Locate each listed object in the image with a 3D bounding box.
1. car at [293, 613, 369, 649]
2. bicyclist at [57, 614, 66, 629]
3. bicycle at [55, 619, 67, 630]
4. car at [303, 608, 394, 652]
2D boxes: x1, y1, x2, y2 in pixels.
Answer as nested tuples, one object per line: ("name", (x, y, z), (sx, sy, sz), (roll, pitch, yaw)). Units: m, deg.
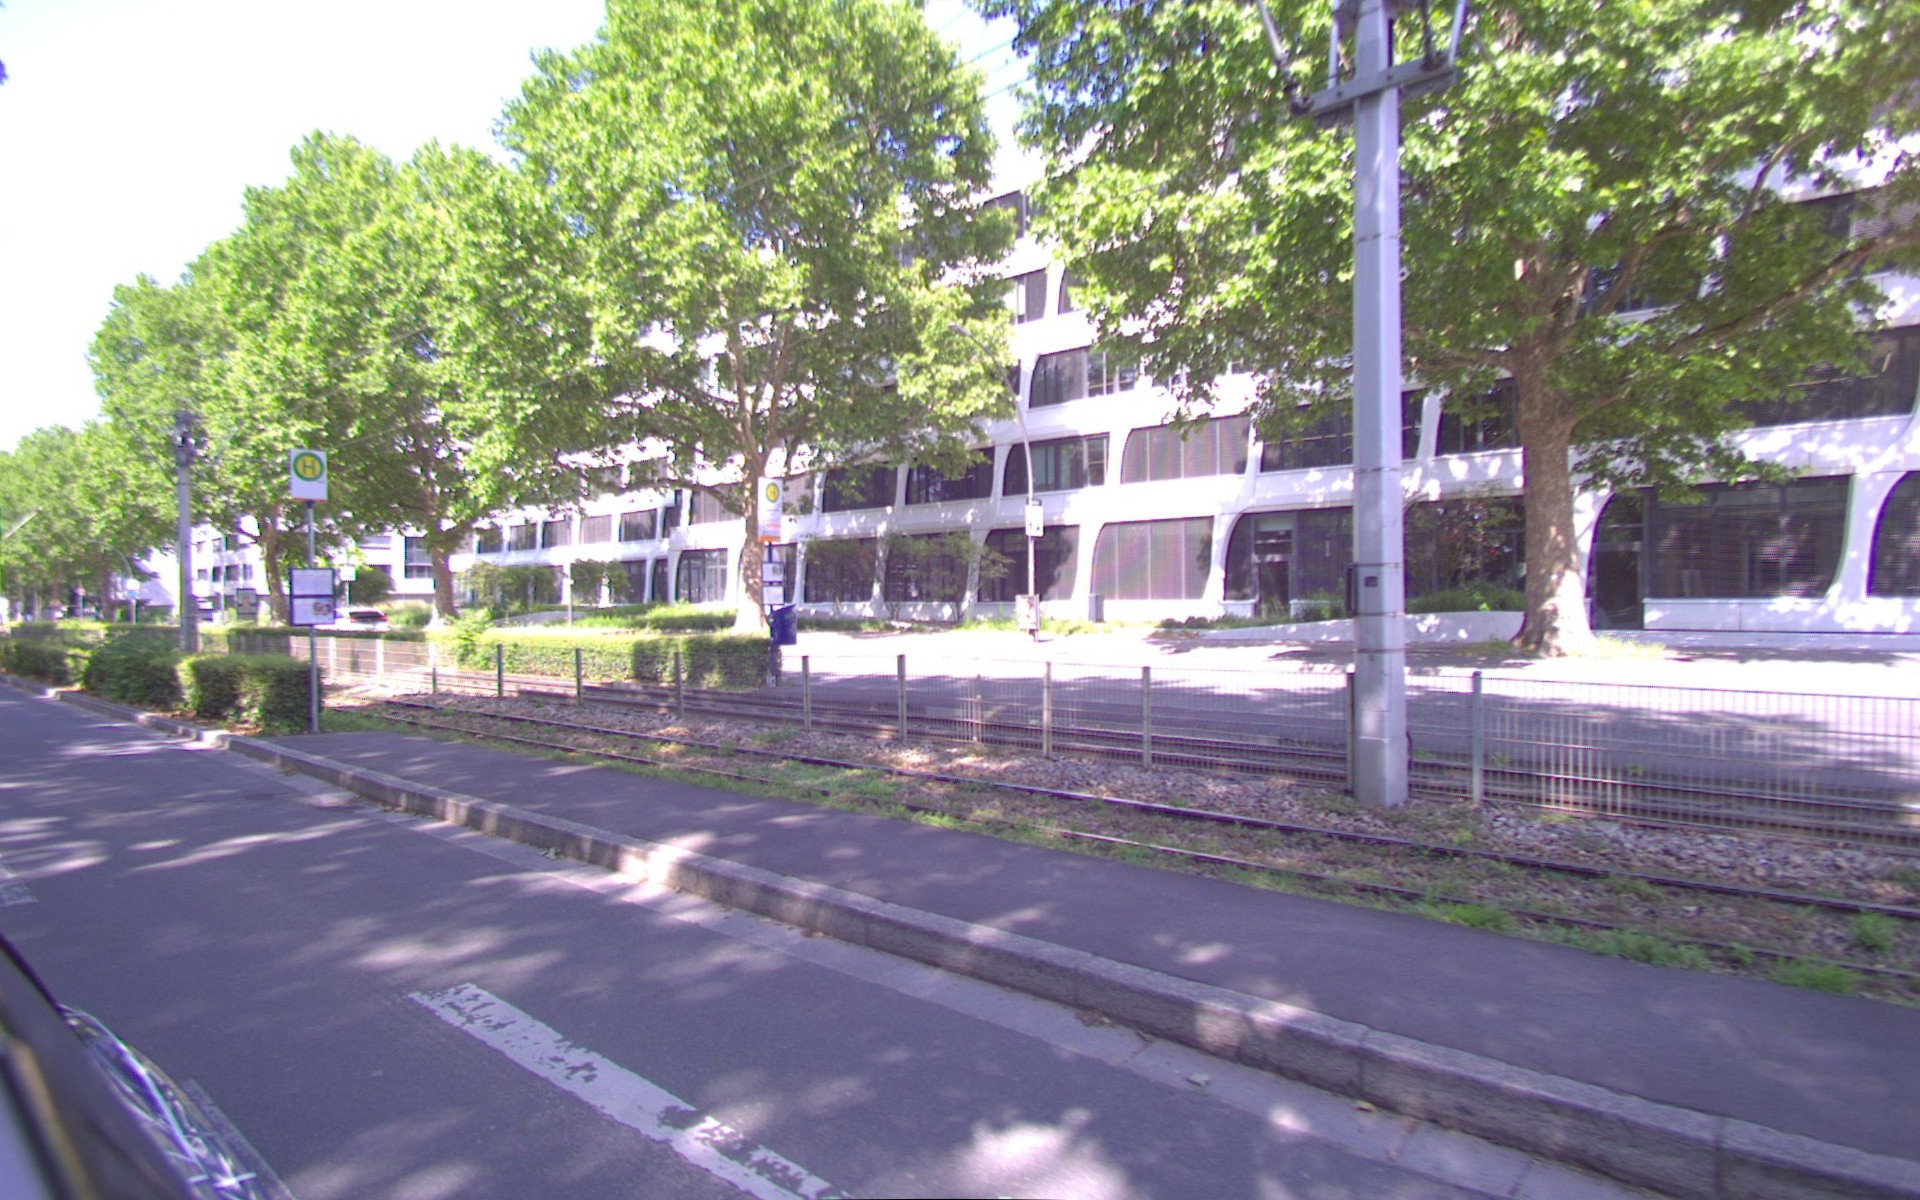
("car", (-31.272, 1.516, 50.259), (4.893, 1.636, 1.811), (-1, 0, 41))
("bicyclist", (-98.118, 2.333, 110.471), (0.640, 1.546, 0.648), (-1, 0, 41))
("bicycle", (-98.219, 2.675, 110.574), (2.029, 1.132, 0.657), (-1, 0, 41))
("car", (-24.048, 1.153, 39.750), (4.301, 1.574, 1.792), (-1, 0, 41))
